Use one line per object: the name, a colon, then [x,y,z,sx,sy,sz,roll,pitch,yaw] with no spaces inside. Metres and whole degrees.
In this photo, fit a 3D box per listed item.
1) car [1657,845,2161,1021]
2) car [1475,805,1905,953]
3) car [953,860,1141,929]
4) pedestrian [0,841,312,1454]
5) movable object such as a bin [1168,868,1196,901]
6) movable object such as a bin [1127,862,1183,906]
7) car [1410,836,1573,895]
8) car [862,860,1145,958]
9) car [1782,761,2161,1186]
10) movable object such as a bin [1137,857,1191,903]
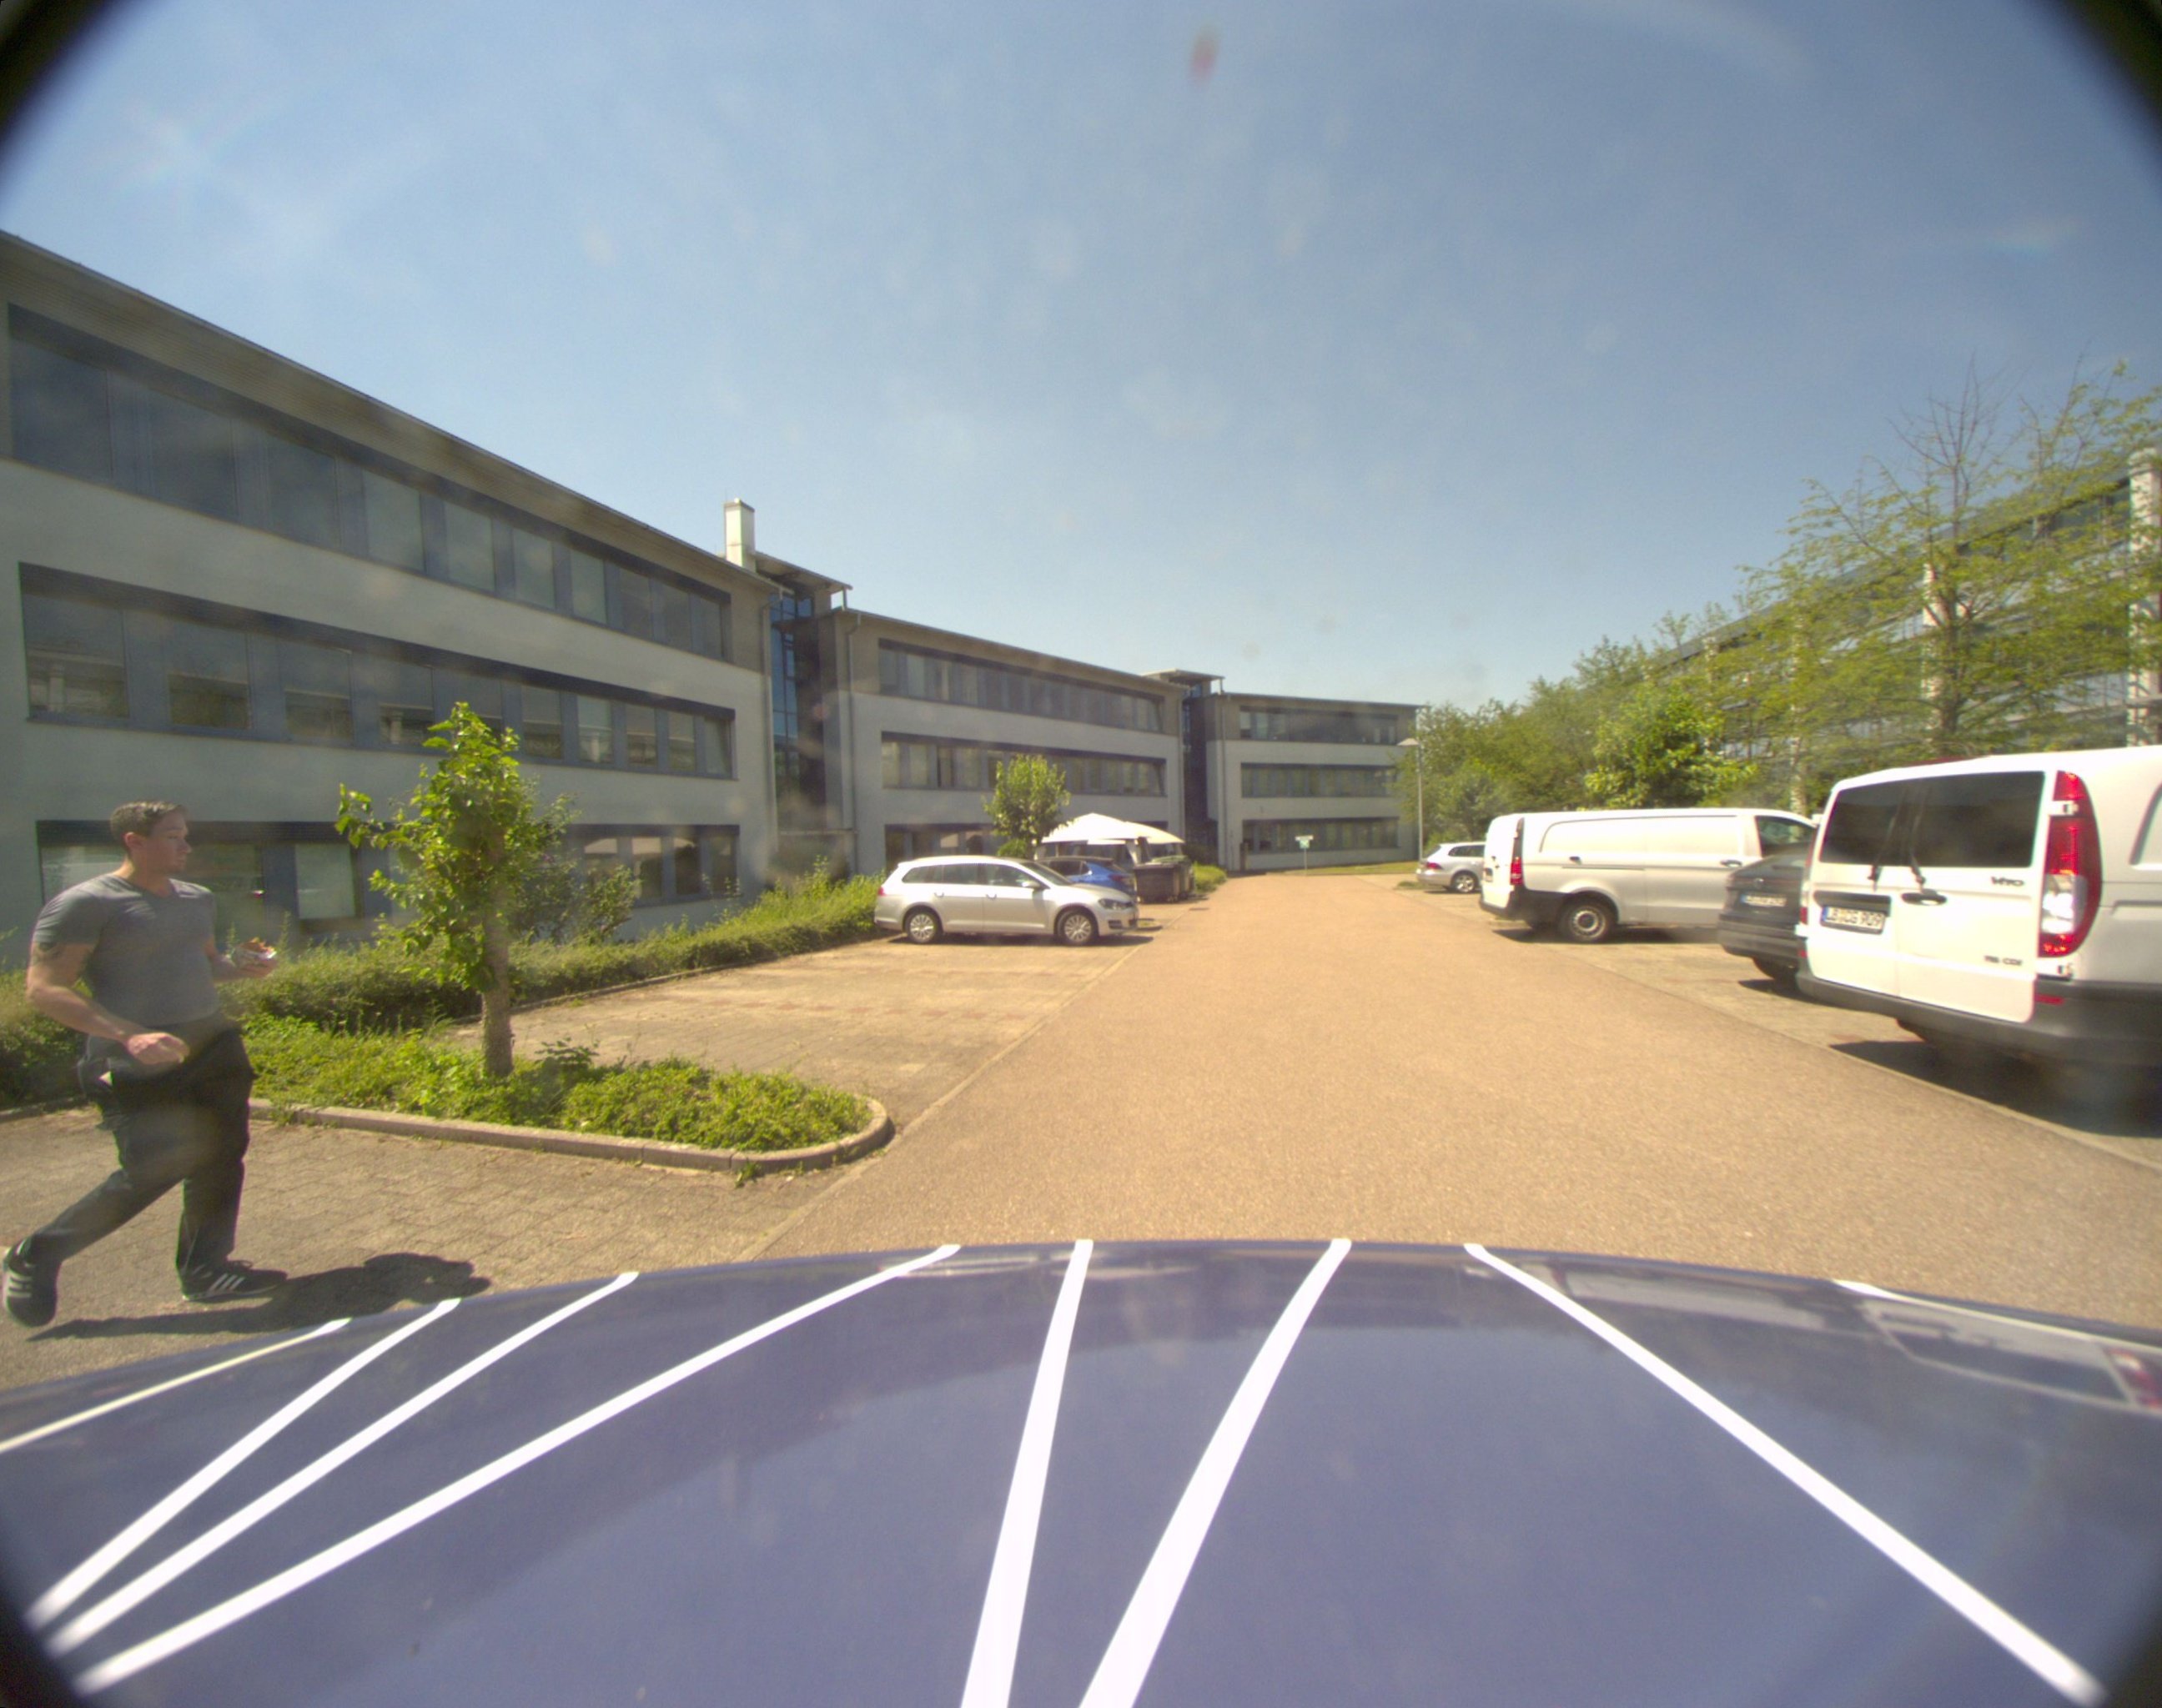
car: [7.998,0.671,7.100,3.845,1.385,1.578,-2,1,12]
car: [8.434,0.364,11.002,4.513,1.871,1.831,-2,1,12]
car: [-0.698,0.837,16.751,3.820,1.384,1.653,0,1,12]
pedestrian: [-3.241,0.846,2.450,0.788,1.747,0.618,-2,1,-9]
movable object such as a bin: [3.124,0.937,23.411,0.690,0.944,0.723,-1,1,18]
movable object such as a bin: [2.130,0.855,21.629,1.362,1.183,0.998,-1,1,18]
car: [11.554,0.318,21.642,3.759,1.549,1.662,-2,1,12]
car: [-1.265,0.888,13.201,4.513,1.489,1.831,-1,1,12]
car: [6.954,0.465,3.845,4.727,1.895,1.831,-2,1,12]
movable object such as a bin: [2.488,0.761,22.634,1.362,1.288,1.044,-1,1,18]
